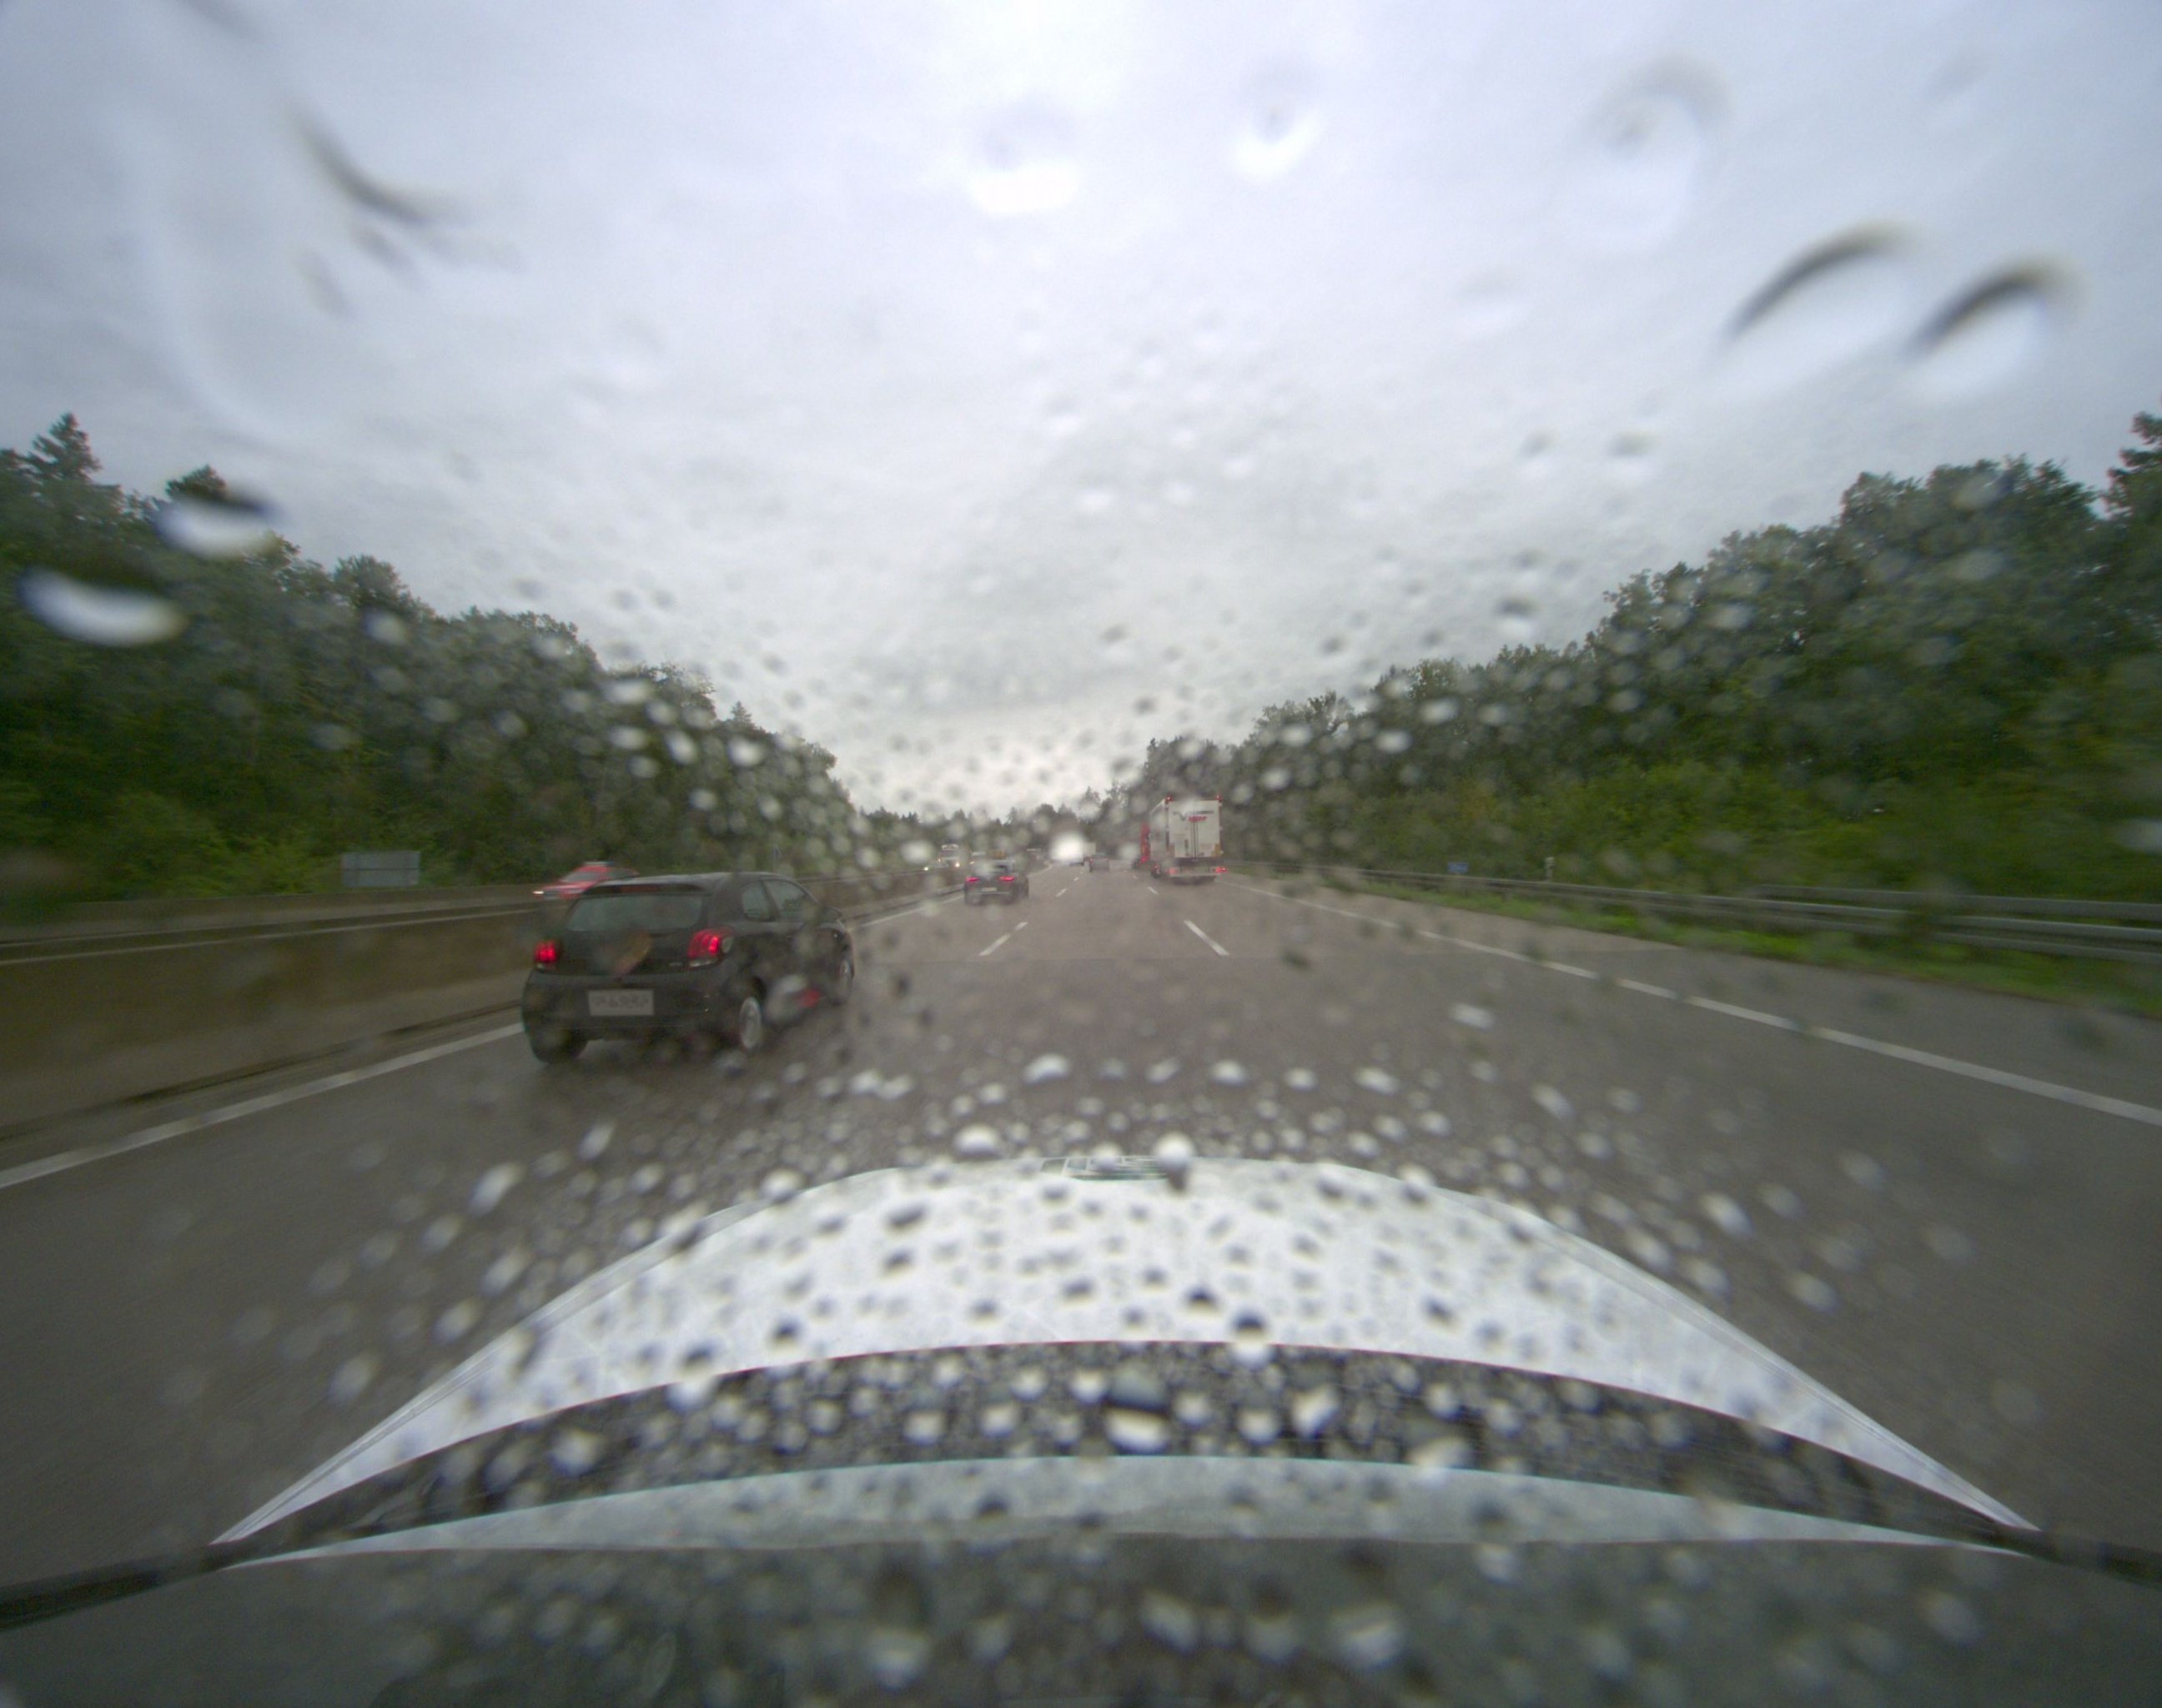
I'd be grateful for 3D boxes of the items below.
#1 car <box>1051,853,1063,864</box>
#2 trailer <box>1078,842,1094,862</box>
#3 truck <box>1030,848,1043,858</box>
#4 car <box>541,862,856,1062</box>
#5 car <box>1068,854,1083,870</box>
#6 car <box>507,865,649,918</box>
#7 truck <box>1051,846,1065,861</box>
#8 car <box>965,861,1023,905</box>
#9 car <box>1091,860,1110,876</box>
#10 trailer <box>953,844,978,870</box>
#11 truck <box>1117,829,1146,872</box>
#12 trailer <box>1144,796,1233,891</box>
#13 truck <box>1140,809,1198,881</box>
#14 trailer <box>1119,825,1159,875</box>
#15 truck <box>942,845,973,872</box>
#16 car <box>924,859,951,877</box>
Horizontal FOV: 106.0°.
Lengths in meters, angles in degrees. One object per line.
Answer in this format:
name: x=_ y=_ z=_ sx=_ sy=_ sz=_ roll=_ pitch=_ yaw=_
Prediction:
car: x=-4.698 y=0.919 z=158.566 sx=1.991 sy=2.059 sz=3.991 roll=-3 pitch=0 yaw=-6
trailer: x=0.977 y=-0.520 z=178.487 sx=2.415 sy=4.068 sz=12.036 roll=-2 pitch=1 yaw=-4
truck: x=-12.854 y=-0.312 z=234.851 sx=3.080 sy=2.905 sz=7.883 roll=-1 pitch=1 yaw=-8
car: x=-3.408 y=0.833 z=8.055 sx=1.682 sy=1.462 sz=3.676 roll=0 pitch=0 yaw=-6
car: x=-0.765 y=1.111 z=110.419 sx=1.722 sy=2.013 sz=3.651 roll=-3 pitch=0 yaw=-4
car: x=-18.213 y=1.285 z=29.853 sx=1.986 sy=1.699 sz=4.976 roll=-1 pitch=0 yaw=1
truck: x=-6.543 y=-0.132 z=229.780 sx=3.363 sy=4.131 sz=10.420 roll=-2 pitch=1 yaw=-5
car: x=-2.900 y=0.945 z=27.799 sx=1.548 sy=1.351 sz=3.683 roll=0 pitch=0 yaw=0
car: x=1.703 y=1.197 z=71.273 sx=1.549 sy=1.351 sz=3.682 roll=0 pitch=0 yaw=-1
trailer: x=-17.567 y=0.431 z=124.477 sx=2.537 sy=3.667 sz=8.230 roll=-2 pitch=0 yaw=0
truck: x=4.820 y=-0.308 z=79.099 sx=2.368 sy=3.954 sz=6.157 roll=-1 pitch=0 yaw=-1
trailer: x=5.286 y=-0.475 z=42.795 sx=2.726 sy=4.103 sz=13.680 roll=-2 pitch=0 yaw=0
truck: x=5.329 y=-0.509 z=50.300 sx=2.790 sy=4.103 sz=5.966 roll=-2 pitch=0 yaw=-1
trailer: x=4.948 y=-0.322 z=71.562 sx=2.363 sy=3.954 sz=12.515 roll=-1 pitch=0 yaw=-1
truck: x=-17.653 y=0.672 z=116.937 sx=2.555 sy=3.667 sz=10.491 roll=-2 pitch=0 yaw=0
car: x=-13.393 y=1.312 z=76.325 sx=1.602 sy=1.554 sz=4.644 roll=-1 pitch=0 yaw=1
